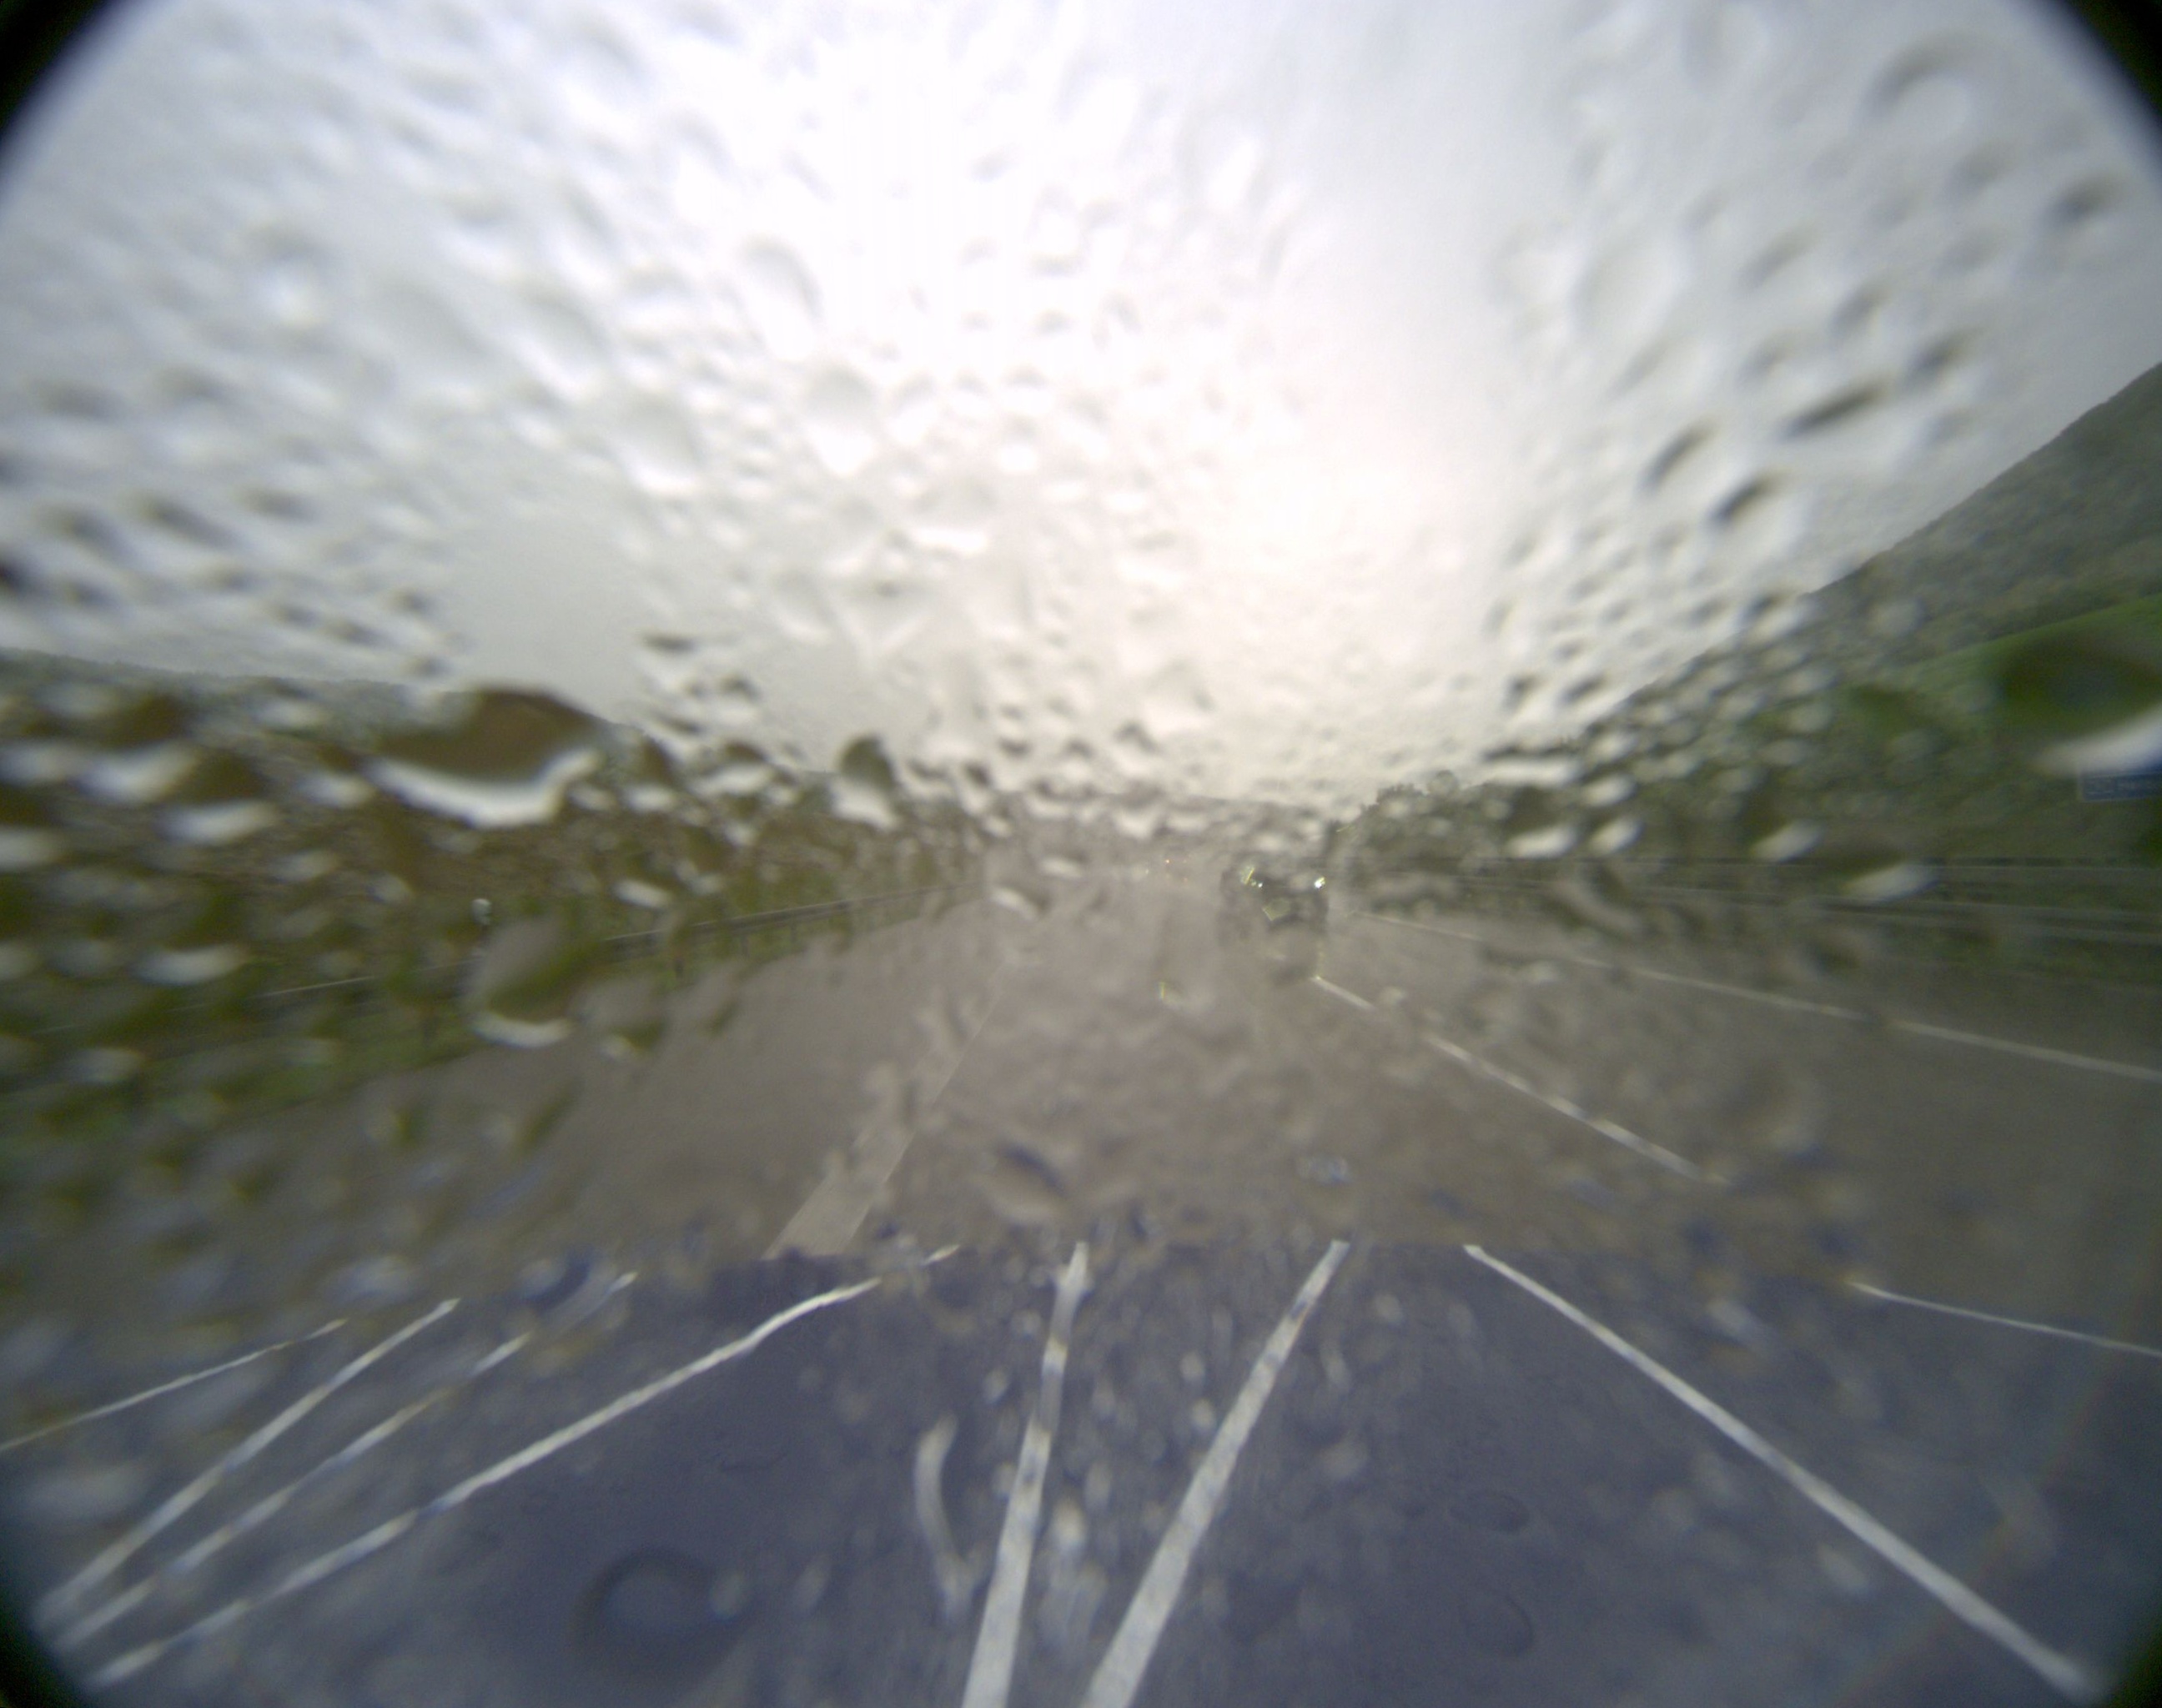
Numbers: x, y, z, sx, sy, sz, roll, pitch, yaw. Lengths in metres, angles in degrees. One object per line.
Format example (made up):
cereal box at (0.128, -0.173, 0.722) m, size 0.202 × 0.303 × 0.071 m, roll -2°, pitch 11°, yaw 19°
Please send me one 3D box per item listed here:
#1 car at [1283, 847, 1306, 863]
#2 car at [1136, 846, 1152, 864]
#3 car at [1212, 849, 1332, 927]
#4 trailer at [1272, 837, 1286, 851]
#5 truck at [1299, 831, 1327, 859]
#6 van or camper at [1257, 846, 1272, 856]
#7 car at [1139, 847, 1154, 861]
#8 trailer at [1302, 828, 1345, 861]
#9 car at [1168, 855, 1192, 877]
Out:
car at (25.406, 0.117, 90.408) m, size 1.997 × 1.724 × 4.002 m, roll -2°, pitch 0°, yaw 7°
car at (7.698, 0.086, 93.252) m, size 1.835 × 2.002 × 3.939 m, roll -4°, pitch 1°, yaw 4°
car at (4.538, 0.734, 18.610) m, size 1.815 × 1.692 × 3.747 m, roll 0°, pitch 1°, yaw -3°
trailer at (53.214, -2.771, 204.627) m, size 2.725 × 3.471 × 9.400 m, roll -2°, pitch 1°, yaw 9°
truck at (32.305, -1.253, 106.010) m, size 2.889 × 3.780 × 5.318 m, roll -2°, pitch 1°, yaw 7°
van or camper at (35.469, -0.667, 146.697) m, size 1.998 × 1.867 × 5.347 m, roll -2°, pitch 0°, yaw 5°
car at (9.896, -0.056, 114.580) m, size 1.998 × 2.002 × 4.001 m, roll -2°, pitch 0°, yaw 2°
trailer at (31.491, -1.225, 99.278) m, size 2.939 × 3.879 × 12.573 m, roll -2°, pitch 0°, yaw 7°
car at (9.351, 1.132, 72.104) m, size 1.987 × 2.002 × 3.934 m, roll -2°, pitch 0°, yaw 4°
